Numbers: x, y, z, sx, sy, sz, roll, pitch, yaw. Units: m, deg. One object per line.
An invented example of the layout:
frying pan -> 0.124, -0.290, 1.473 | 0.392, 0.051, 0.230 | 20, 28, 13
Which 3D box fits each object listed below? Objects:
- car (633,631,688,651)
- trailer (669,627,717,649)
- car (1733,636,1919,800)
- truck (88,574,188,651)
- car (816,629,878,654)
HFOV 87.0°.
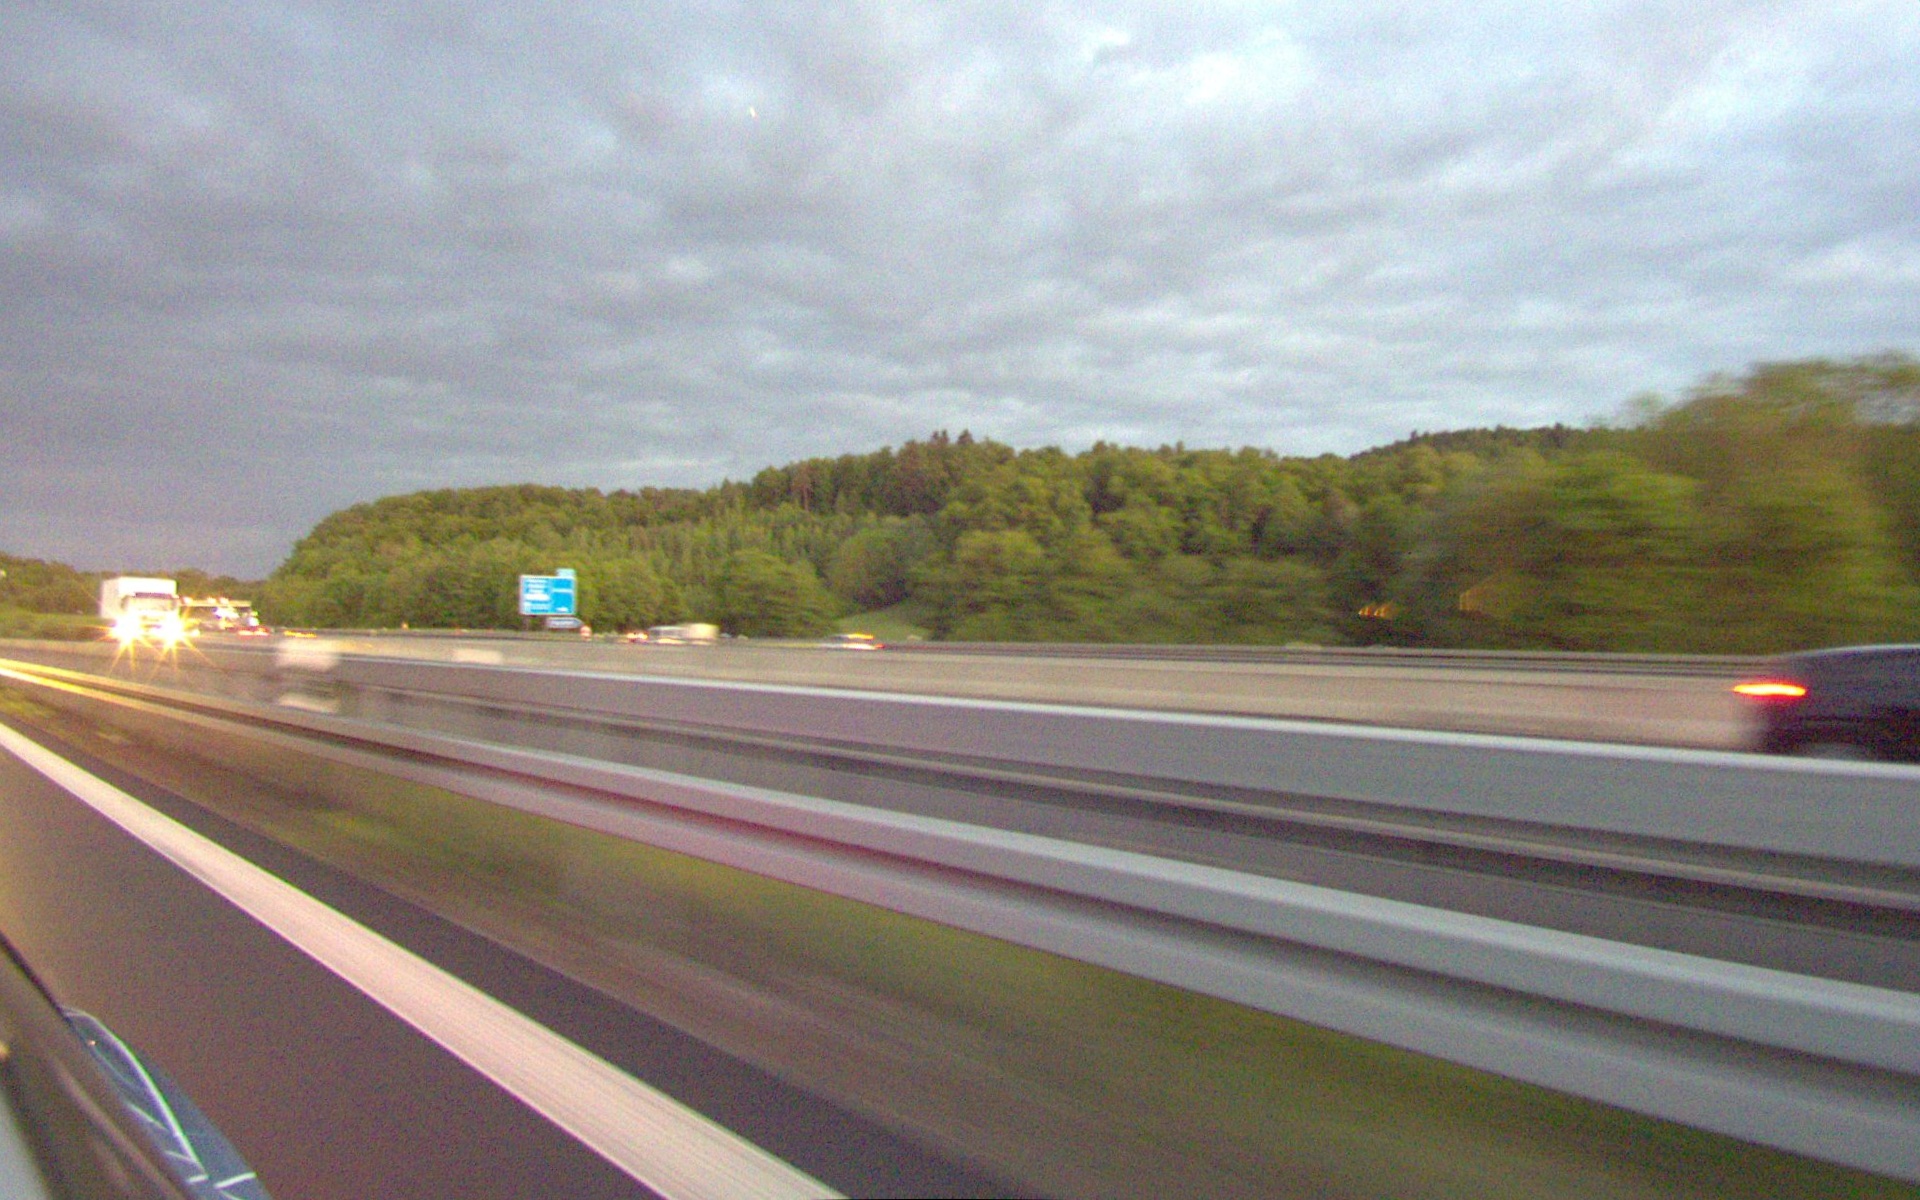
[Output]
car -> -22.595, 3.050, 76.295 | 4.462, 1.454, 1.818 | -1, -2, 39
trailer -> -19.482, 2.761, 73.740 | 3.595, 1.608, 1.520 | -1, -2, 38
car -> 10.587, 1.181, 10.052 | 4.518, 1.573, 1.852 | -1, -2, 42
truck -> -49.657, 0.777, 61.005 | 9.886, 4.334, 3.006 | -1, -2, 41
car -> -7.702, 2.803, 68.697 | 4.307, 1.608, 1.748 | -1, -2, 41
